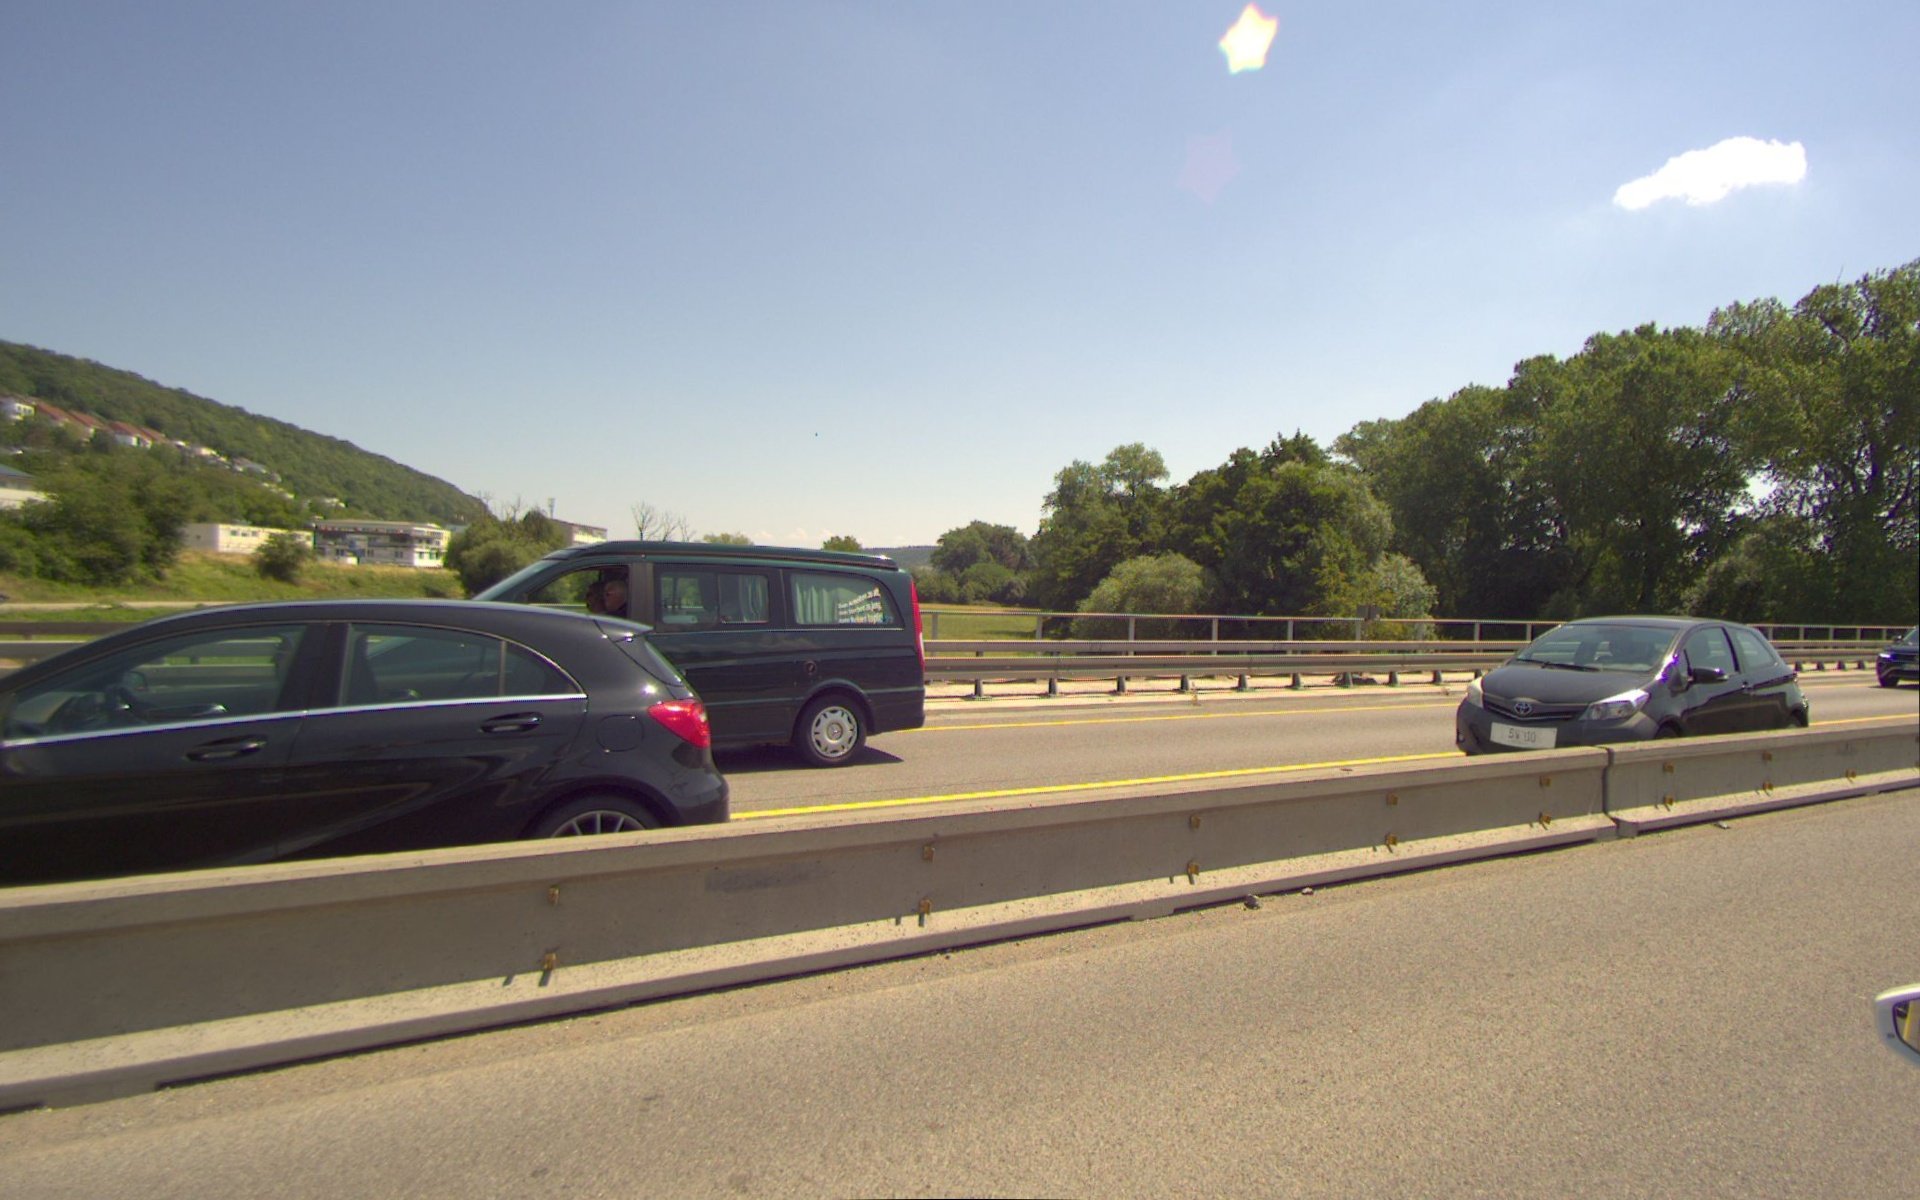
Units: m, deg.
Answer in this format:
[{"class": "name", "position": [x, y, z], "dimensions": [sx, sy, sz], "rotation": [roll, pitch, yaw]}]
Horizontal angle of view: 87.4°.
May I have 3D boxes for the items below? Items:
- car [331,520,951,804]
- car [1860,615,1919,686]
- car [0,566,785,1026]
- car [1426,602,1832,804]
[{"class": "car", "position": [-2.673, 0.469, 8.993], "dimensions": [4.878, 1.959, 1.915], "rotation": [1, -1, -29]}, {"class": "car", "position": [23.152, 1.169, 23.656], "dimensions": [3.953, 1.590, 1.805], "rotation": [1, -1, -31]}, {"class": "car", "position": [-2.971, 0.659, 4.347], "dimensions": [4.037, 1.492, 1.733], "rotation": [1, -1, -30]}, {"class": "car", "position": [6.553, 0.861, 9.753], "dimensions": [4.038, 1.603, 1.733], "rotation": [1, -1, -31]}]
